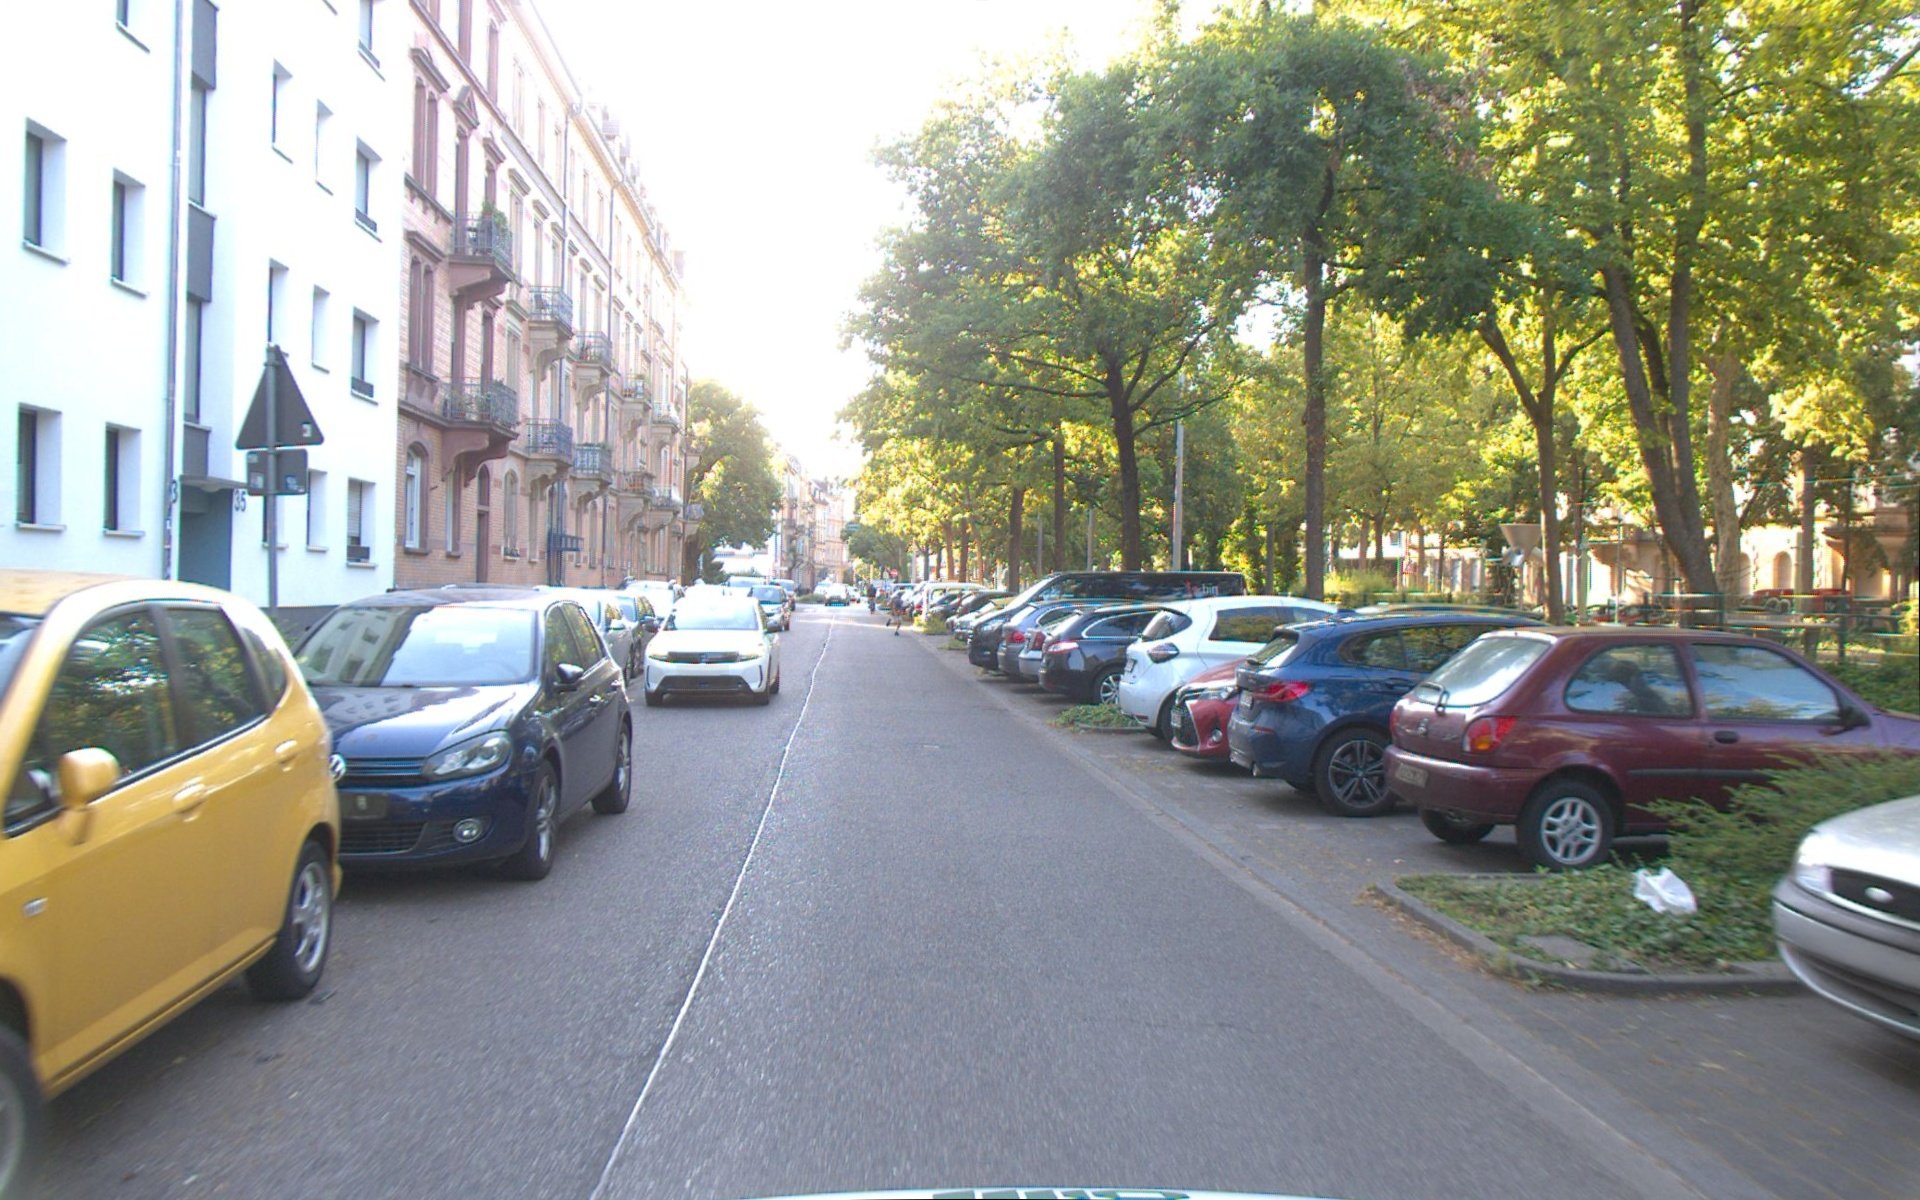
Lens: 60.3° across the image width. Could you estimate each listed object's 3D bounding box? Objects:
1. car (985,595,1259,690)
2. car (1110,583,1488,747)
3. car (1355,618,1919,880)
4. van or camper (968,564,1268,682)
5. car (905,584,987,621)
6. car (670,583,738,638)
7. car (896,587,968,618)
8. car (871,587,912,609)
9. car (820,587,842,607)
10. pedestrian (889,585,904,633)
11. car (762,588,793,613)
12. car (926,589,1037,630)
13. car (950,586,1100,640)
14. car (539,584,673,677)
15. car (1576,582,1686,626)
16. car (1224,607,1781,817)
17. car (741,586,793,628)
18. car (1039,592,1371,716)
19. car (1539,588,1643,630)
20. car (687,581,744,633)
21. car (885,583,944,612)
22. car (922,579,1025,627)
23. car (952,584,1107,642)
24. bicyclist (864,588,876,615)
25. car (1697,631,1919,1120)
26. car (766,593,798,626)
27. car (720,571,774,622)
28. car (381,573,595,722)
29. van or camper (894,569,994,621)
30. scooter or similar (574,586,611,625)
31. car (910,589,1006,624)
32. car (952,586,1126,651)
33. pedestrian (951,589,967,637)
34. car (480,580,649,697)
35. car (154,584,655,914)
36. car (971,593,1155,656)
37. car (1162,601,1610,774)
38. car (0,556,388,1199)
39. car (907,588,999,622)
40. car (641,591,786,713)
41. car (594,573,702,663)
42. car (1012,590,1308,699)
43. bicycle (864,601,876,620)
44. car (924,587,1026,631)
[{"bbox_3d":[2.685,0.722,27.934,4.315,1.527,1.835,0,-1,-7],"label":"car"},{"bbox_3d":[3.576,0.687,17.861,3.707,1.675,1.663,0,-1,-4],"label":"car"},{"bbox_3d":[4.520,0.842,10.158,3.711,1.426,1.763,0,-1,-8],"label":"car"},{"bbox_3d":[2.823,0.395,30.469,5.304,2.063,2.029,0,1,-2],"label":"van or camper"},{"bbox_3d":[-0.693,0.101,80.336,3.907,1.721,1.858,-1,0,-3],"label":"car"},{"bbox_3d":[-7.703,0.286,50.090,1.720,1.489,3.995,4,0,-6],"label":"car"},{"bbox_3d":[-1.602,0.137,94.853,3.911,1.575,1.856,2,-2,-7],"label":"car"},{"bbox_3d":[-7.093,-0.226,172.375,3.902,2.049,2.001,2,-2,7],"label":"car"},{"bbox_3d":[-9.859,-0.240,126.097,1.636,1.489,3.996,0,0,-5],"label":"car"},{"bbox_3d":[-2.183,0.310,56.779,0.372,1.612,0.519,2,2,15],"label":"pedestrian"},{"bbox_3d":[-11.565,-0.006,104.917,1.722,1.491,4.264,2,0,-4],"label":"car"},{"bbox_3d":[0.793,0.354,62.539,4.003,1.468,1.759,-1,0,-7],"label":"car"},{"bbox_3d":[1.950,0.396,50.262,4.318,1.619,1.834,0,0,-9],"label":"car"},{"bbox_3d":[-6.322,0.497,29.922,1.583,1.477,3.999,3,0,-2],"label":"car"},{"bbox_3d":[29.141,0.192,71.907,3.908,1.713,1.998,2,-2,-4],"label":"car"},{"bbox_3d":[3.975,0.808,12.575,3.704,1.472,1.664,0,-1,1],"label":"car"},{"bbox_3d":[-6.816,0.221,58.556,1.473,1.460,2.753,0,0,1],"label":"car"},{"bbox_3d":[3.250,0.722,22.551,4.308,1.605,1.664,0,-1,1],"label":"car"},{"bbox_3d":[28.490,0.440,74.785,3.908,1.713,1.998,2,-2,-4],"label":"car"},{"bbox_3d":[-8.097,0.215,54.560,1.715,1.573,4.142,3,0,-10],"label":"car"},{"bbox_3d":[-3.171,-0.155,114.999,3.911,1.825,1.856,2,-2,-7],"label":"car"},{"bbox_3d":[0.523,0.111,67.877,4.136,1.896,1.760,-1,0,-3],"label":"car"},{"bbox_3d":[1.970,0.376,47.657,4.312,1.619,1.836,0,0,-3],"label":"car"},{"bbox_3d":[-5.421,0.081,99.540,0.615,1.601,0.801,2,-2,-5],"label":"bicyclist"},{"bbox_3d":[4.621,0.824,5.406,3.708,1.426,1.662,0,-1,-5],"label":"car"},{"bbox_3d":[-11.853,0.592,110.441,1.919,2.053,4.264,2,0,-4],"label":"car"},{"bbox_3d":[-8.936,-0.107,69.659,1.955,1.954,5.034,2,-1,-5],"label":"car"},{"bbox_3d":[-5.656,0.516,20.288,1.636,1.534,3.997,4,0,-4],"label":"car"},{"bbox_3d":[-0.849,-0.229,84.895,4.885,2.419,2.182,2,-2,-6],"label":"van or camper"},{"bbox_3d":[-12.393,0.197,55.869,0.768,1.244,2.701,2,-1,-4],"label":"scooter or similar"},{"bbox_3d":[-0.086,0.280,72.394,4.133,1.478,1.649,-1,0,0],"label":"car"},{"bbox_3d":[2.014,0.476,42.876,4.313,1.619,1.836,0,0,-5],"label":"car"},{"bbox_3d":[-0.040,0.433,54.583,0.372,1.543,0.519,2,2,15],"label":"pedestrian"},{"bbox_3d":[-5.872,0.525,25.018,1.635,1.496,4.281,4,0,-3],"label":"car"},{"bbox_3d":[-2.913,0.671,9.596,1.704,1.505,3.998,0,0,-3],"label":"car"},{"bbox_3d":[2.457,0.594,40.145,4.310,1.465,1.837,0,0,-2],"label":"car"},{"bbox_3d":[3.830,0.785,15.278,3.705,1.499,1.663,0,-1,-2],"label":"car"},{"bbox_3d":[-2.980,0.666,4.630,1.669,1.552,3.770,1,0,-4],"label":"car"},{"bbox_3d":[-0.335,0.223,75.277,4.136,1.478,1.864,-1,0,-3],"label":"car"},{"bbox_3d":[-3.412,0.659,23.500,1.635,1.455,3.998,-1,2,-3],"label":"car"},{"bbox_3d":[-6.572,0.337,35.200,1.717,1.735,4.197,2,0,-4],"label":"car"},{"bbox_3d":[2.991,0.680,25.338,4.310,1.605,1.663,0,-1,-2],"label":"car"},{"bbox_3d":[-5.441,0.639,99.480,0.629,1.119,1.941,2,-2,-5],"label":"bicycle"},{"bbox_3d":[0.506,0.308,59.941,3.601,1.528,1.761,-1,0,-3],"label":"car"}]
